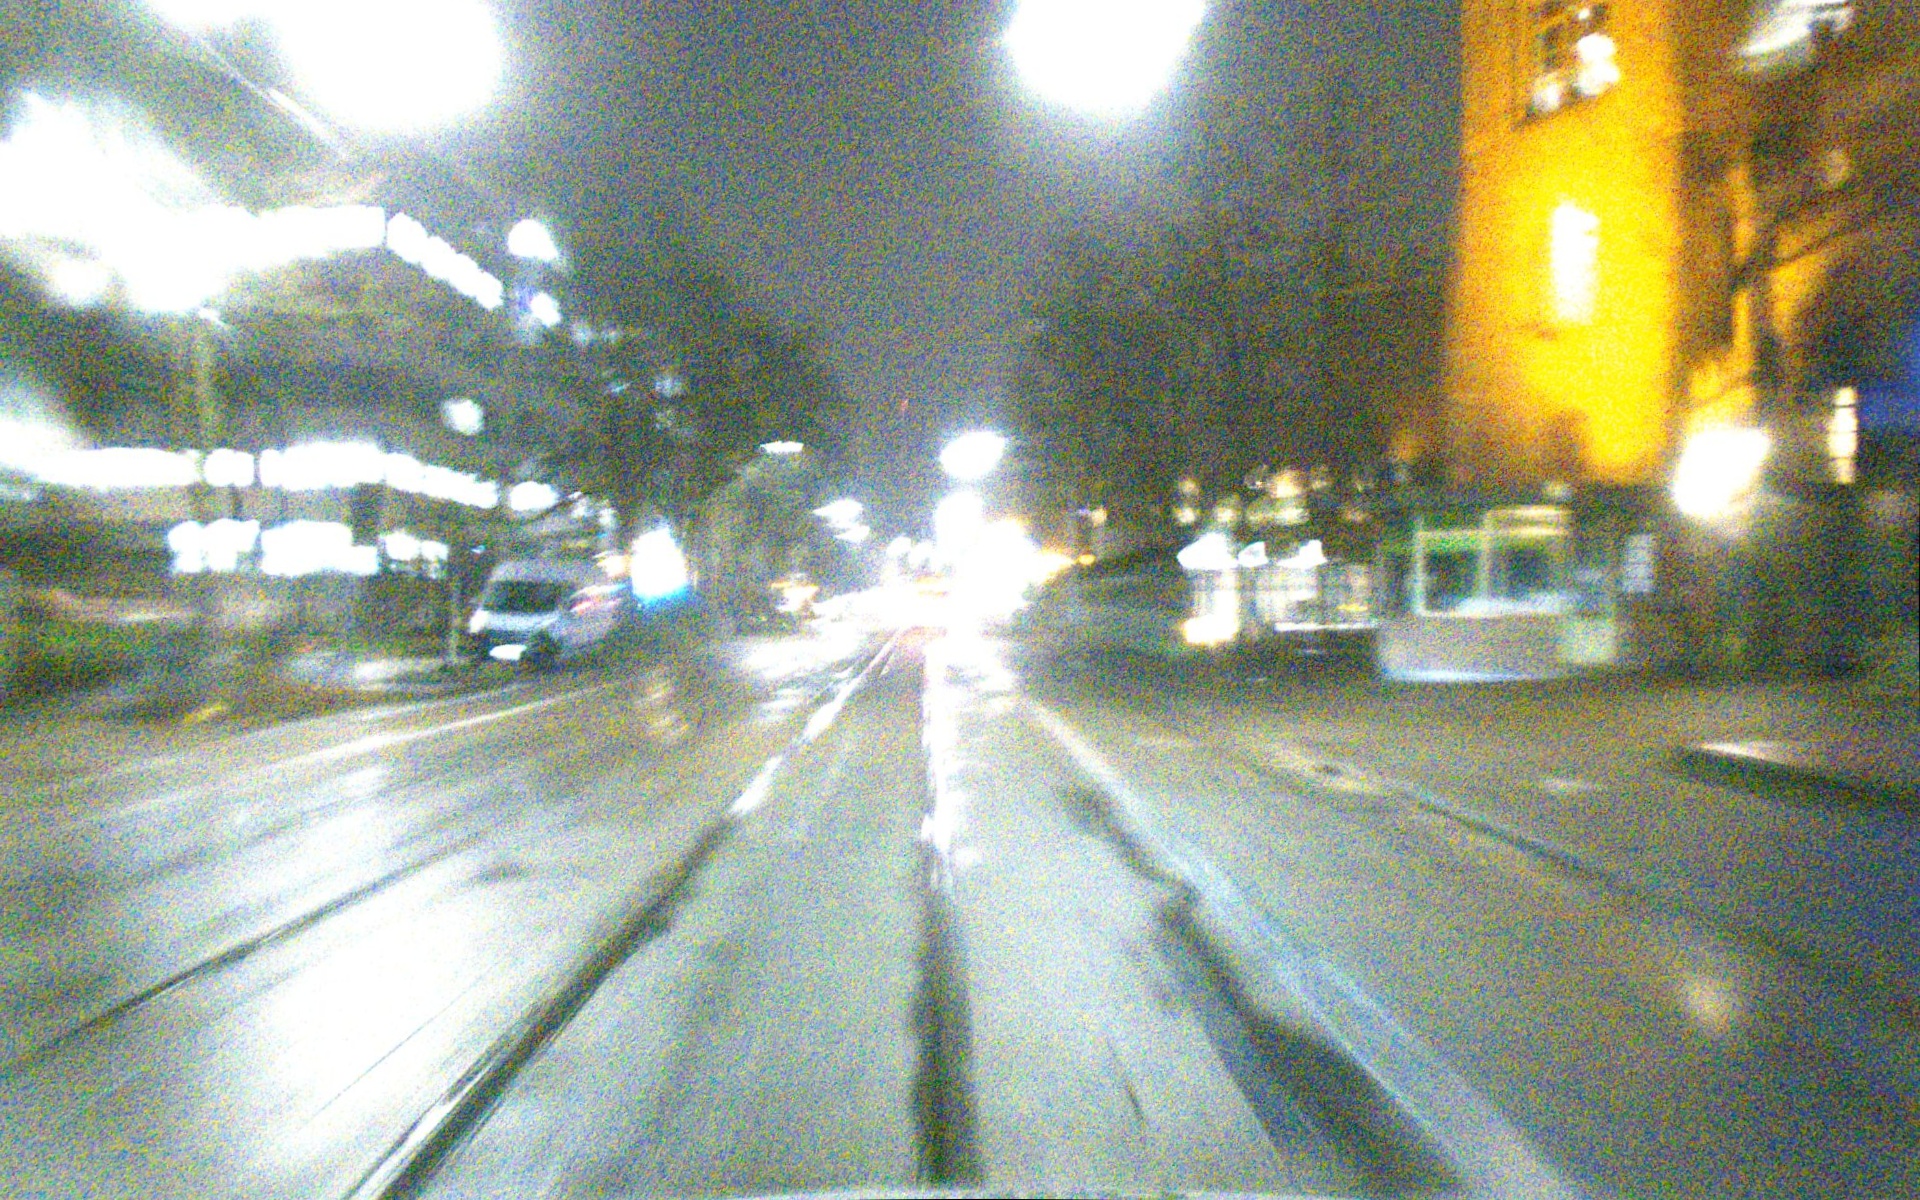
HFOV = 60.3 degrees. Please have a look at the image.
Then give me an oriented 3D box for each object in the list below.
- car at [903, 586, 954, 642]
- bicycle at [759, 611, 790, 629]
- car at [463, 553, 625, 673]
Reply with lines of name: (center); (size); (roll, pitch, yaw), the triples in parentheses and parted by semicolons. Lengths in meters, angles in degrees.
car: (-1.437, 0.608, 73.600); (2.199, 2.402, 4.391); (0, 0, -2)
bicycle: (-11.334, 1.207, 101.279); (1.816, 1.096, 0.627); (0, -1, -2)
car: (-9.848, 0.264, 39.754); (2.140, 2.637, 6.392); (0, 0, 1)
